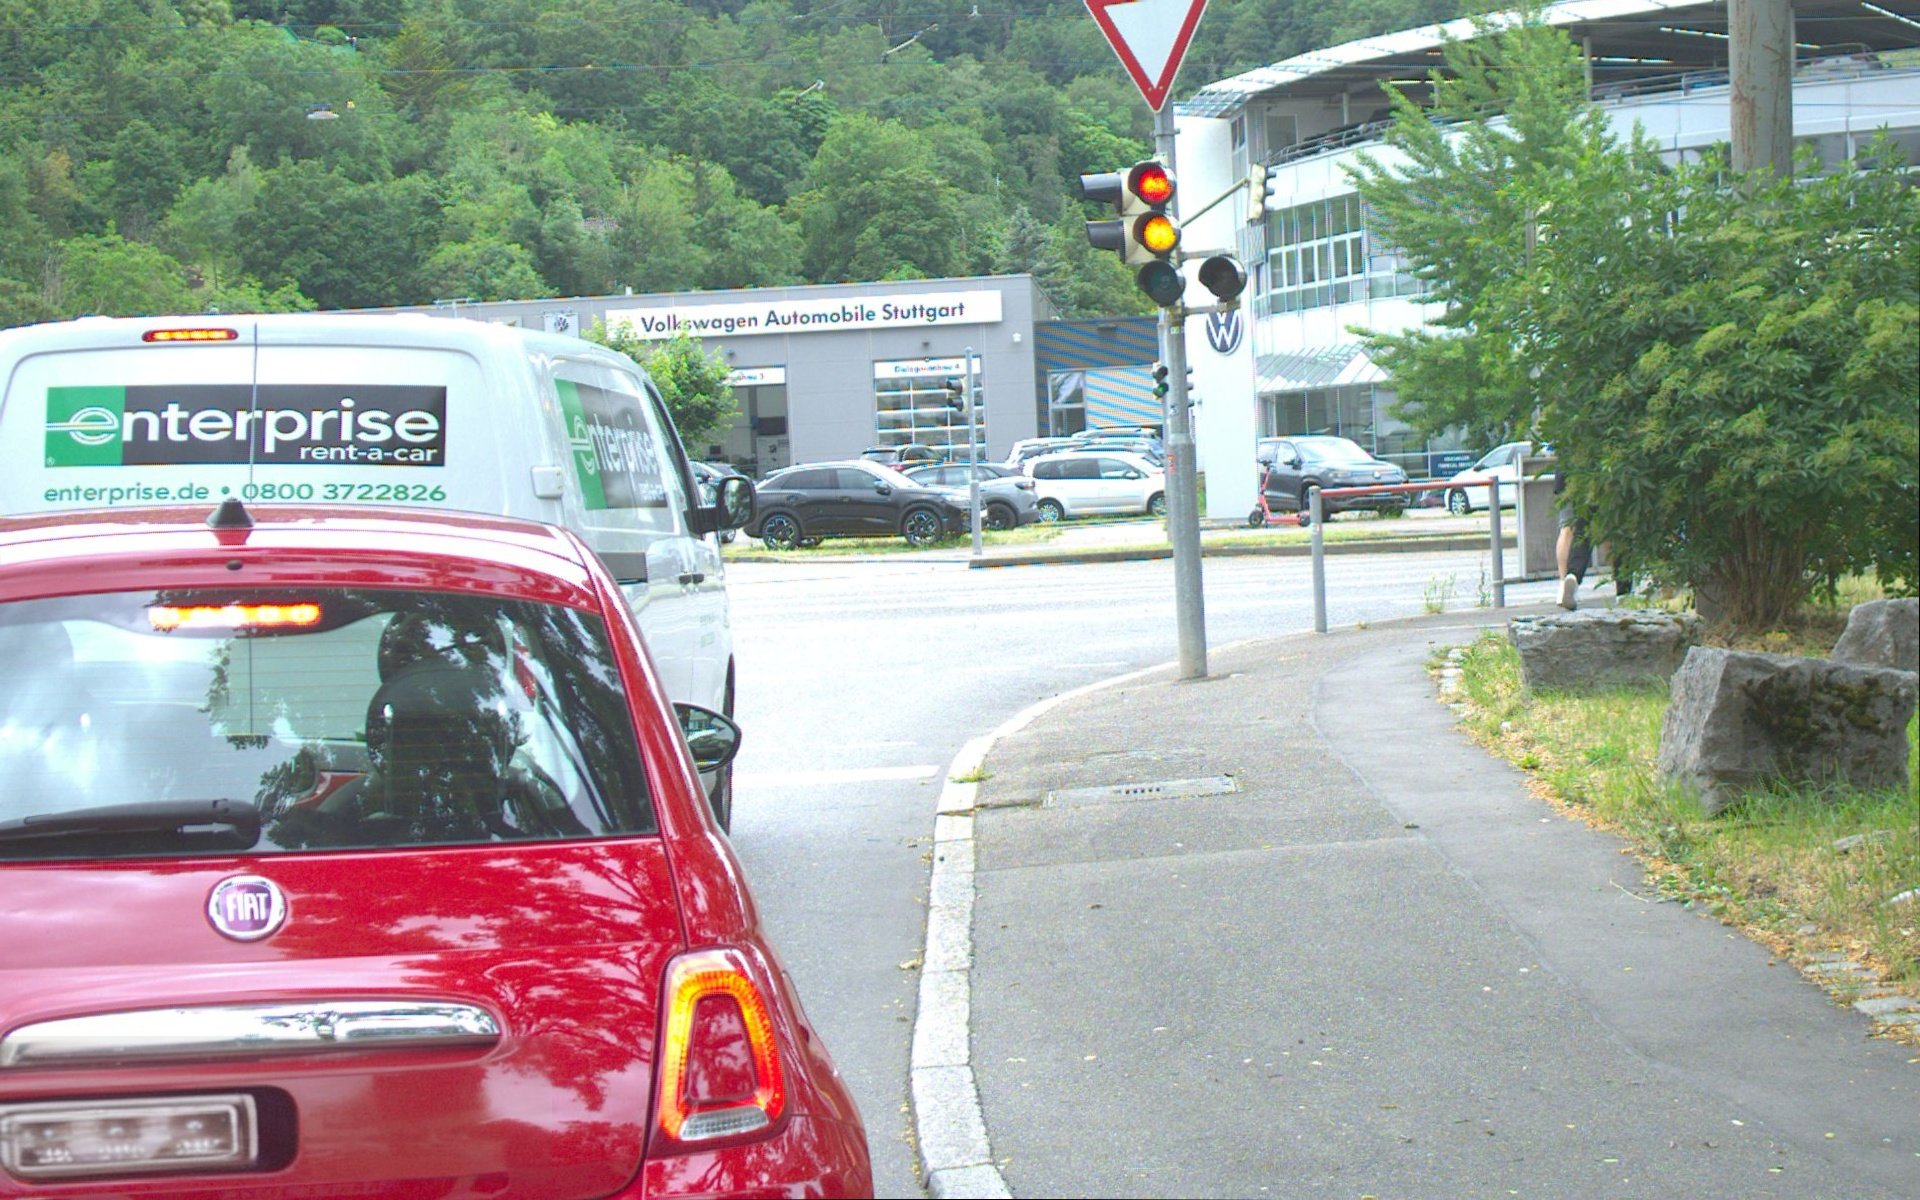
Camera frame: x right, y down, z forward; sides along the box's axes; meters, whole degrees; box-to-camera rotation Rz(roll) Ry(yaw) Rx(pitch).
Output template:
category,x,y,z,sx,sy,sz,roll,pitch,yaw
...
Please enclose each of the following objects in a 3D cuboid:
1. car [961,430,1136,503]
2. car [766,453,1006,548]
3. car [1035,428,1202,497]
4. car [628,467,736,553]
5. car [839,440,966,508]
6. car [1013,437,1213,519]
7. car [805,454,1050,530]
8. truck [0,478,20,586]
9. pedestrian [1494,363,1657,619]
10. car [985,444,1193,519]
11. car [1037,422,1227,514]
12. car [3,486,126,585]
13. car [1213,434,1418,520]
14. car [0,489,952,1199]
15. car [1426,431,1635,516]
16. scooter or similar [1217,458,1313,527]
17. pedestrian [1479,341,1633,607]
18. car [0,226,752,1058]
category,x,y,z,sx,sy,sz,roll,pitch,yaw
car,2.492,-3.735,96.195,4.796,1.796,1.776,-2,2,3
car,-1.312,-1.779,61.373,3.871,1.495,1.774,-2,2,17
car,4.662,-4.032,101.085,4.796,1.796,1.776,-2,2,3
car,-6.348,-2.096,78.826,1.993,1.809,4.000,-3,2,1
car,-1.636,-3.662,99.546,1.996,1.809,3.995,-1,3,27
car,3.763,-3.011,84.600,4.796,1.796,1.776,-2,2,3
car,-0.650,-2.215,70.449,4.674,1.323,1.775,-2,2,14
truck,-23.696,-1.389,76.054,5.183,2.385,2.000,-4,3,-28
pedestrian,4.235,-0.751,23.668,0.786,1.708,0.695,-5,3,-42
car,3.038,-2.806,81.057,4.796,1.528,1.776,-2,2,3
car,4.459,-3.442,89.511,4.796,2.149,2.234,-2,2,3
car,-17.776,-1.314,68.398,1.859,1.811,4.404,-3,2,-9
car,6.707,-2.314,65.140,1.770,1.495,3.881,-4,3,-33
car,-1.153,0.579,5.534,1.638,1.451,3.432,-2,2,-11
car,11.049,-2.438,66.837,1.770,1.495,4.022,-4,3,-31
scooter or similar,5.526,-1.954,62.290,1.668,1.173,0.467,-2,2,7
pedestrian,4.275,-0.904,24.642,0.695,1.850,0.786,-1,3,43
car,-1.941,0.031,11.367,1.989,2.099,4.762,-3,2,2
